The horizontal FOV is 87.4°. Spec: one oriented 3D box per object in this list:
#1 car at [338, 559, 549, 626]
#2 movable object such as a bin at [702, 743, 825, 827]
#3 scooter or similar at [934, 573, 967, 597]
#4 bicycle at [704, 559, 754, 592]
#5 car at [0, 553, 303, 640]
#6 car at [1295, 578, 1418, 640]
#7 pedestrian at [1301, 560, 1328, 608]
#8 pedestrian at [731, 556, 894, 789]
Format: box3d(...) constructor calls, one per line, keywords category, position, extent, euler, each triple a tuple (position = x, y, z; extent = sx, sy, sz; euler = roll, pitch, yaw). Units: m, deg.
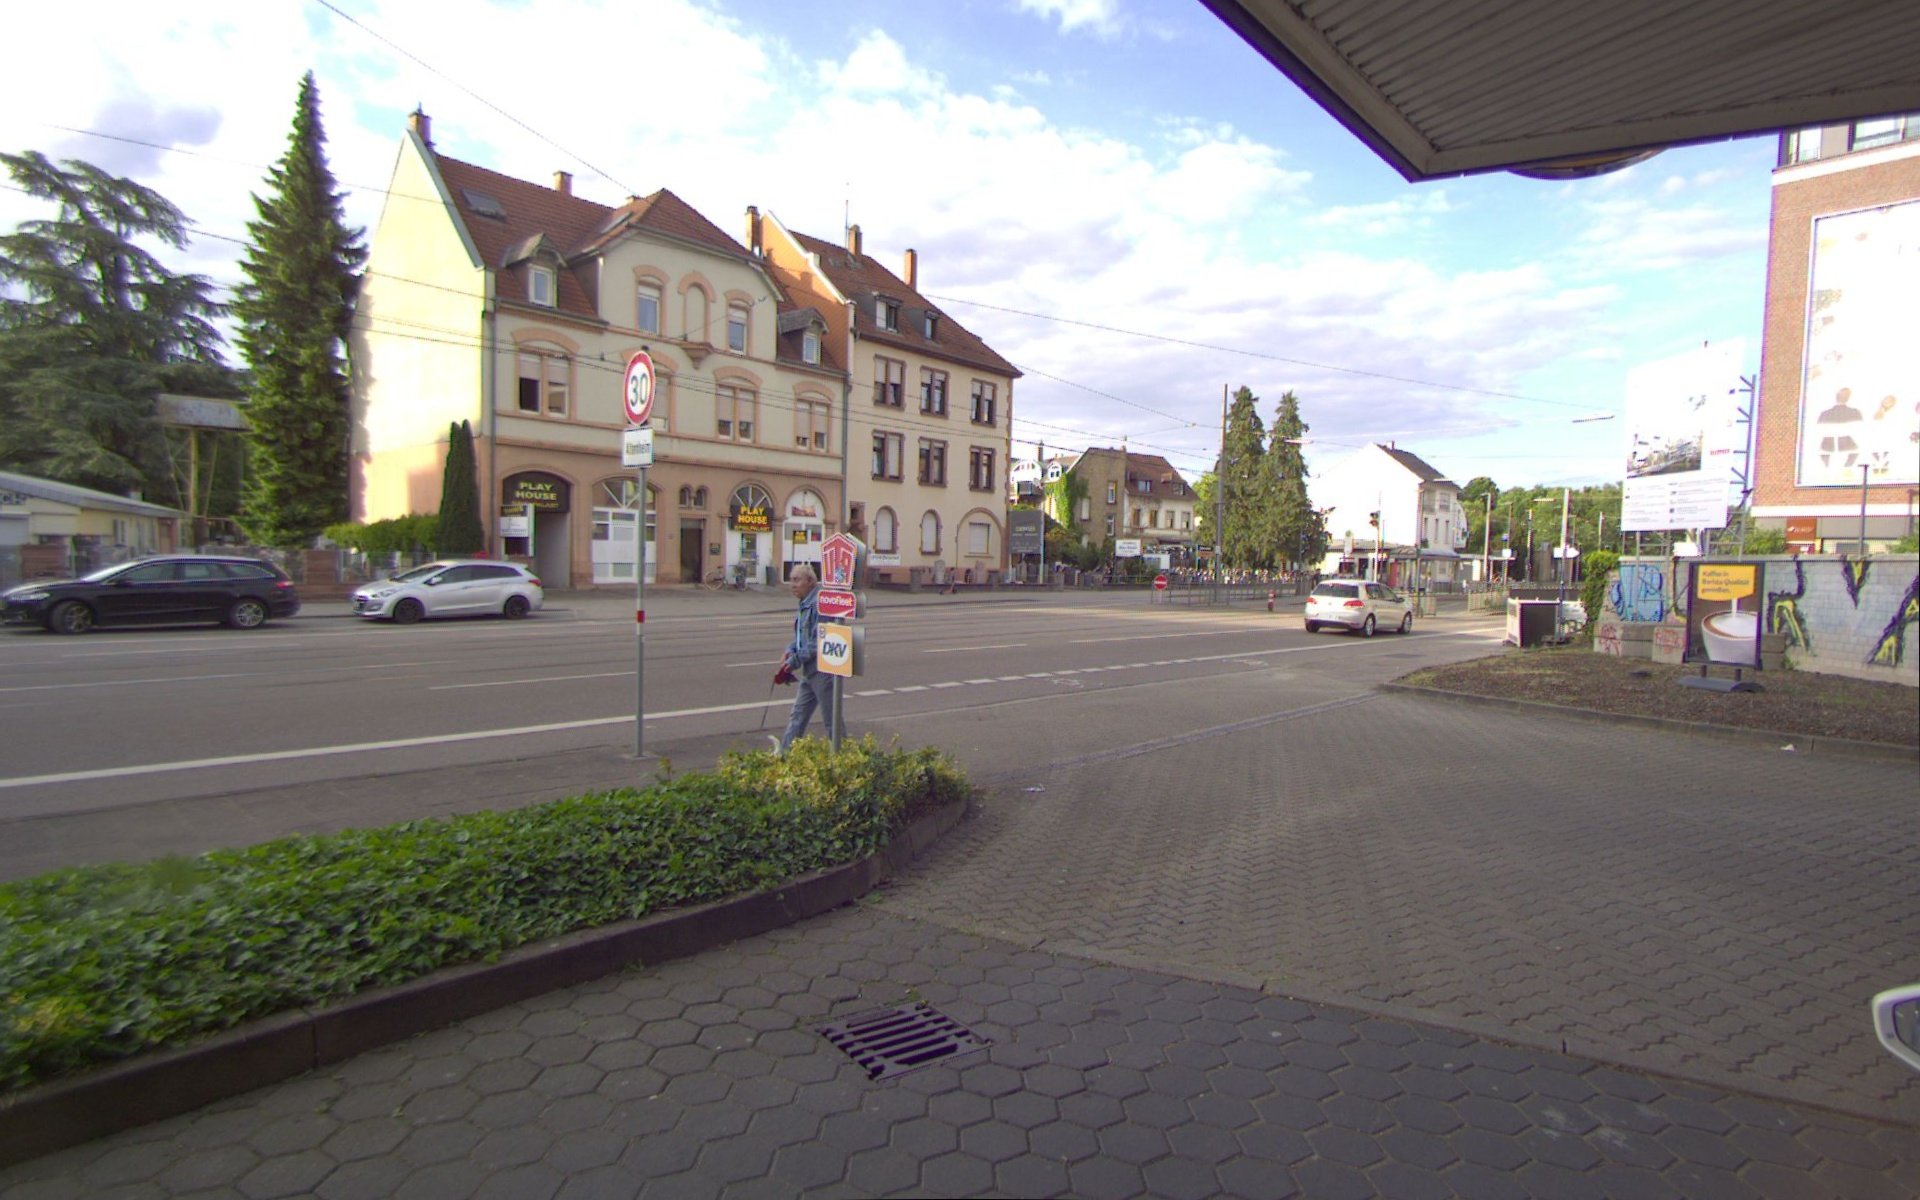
box3d(category="car", position=(-12.918, -0.233, 25.357), extent=(1.699, 1.503, 4.434), euler=(4, 4, 40))
box3d(category="movable object such as a bin", position=(-1.297, 1.203, 6.632), extent=(0.672, 0.426, 0.477), euler=(1, 0, -32))
box3d(category="scooter or similar", position=(-0.435, -0.668, 45.113), extent=(0.461, 1.041, 1.655), euler=(4, 3, 40))
box3d(category="bicycle", position=(-9.105, -0.956, 39.611), extent=(0.665, 1.229, 1.862), euler=(4, 2, 41))
box3d(category="car", position=(-16.598, -0.136, 20.735), extent=(1.984, 1.520, 4.753), euler=(4, 4, 40))
box3d(category="car", position=(11.044, 0.186, 27.874), extent=(1.735, 1.497, 3.975), euler=(6, 5, 44))
box3d(category="pedestrian", position=(15.678, -0.696, 44.400), extent=(0.834, 2.040, 0.808), euler=(2, 0, -2))
box3d(category="pedestrian", position=(-1.187, 0.531, 7.972), extent=(0.959, 1.690, 0.996), euler=(1, 0, -30))
